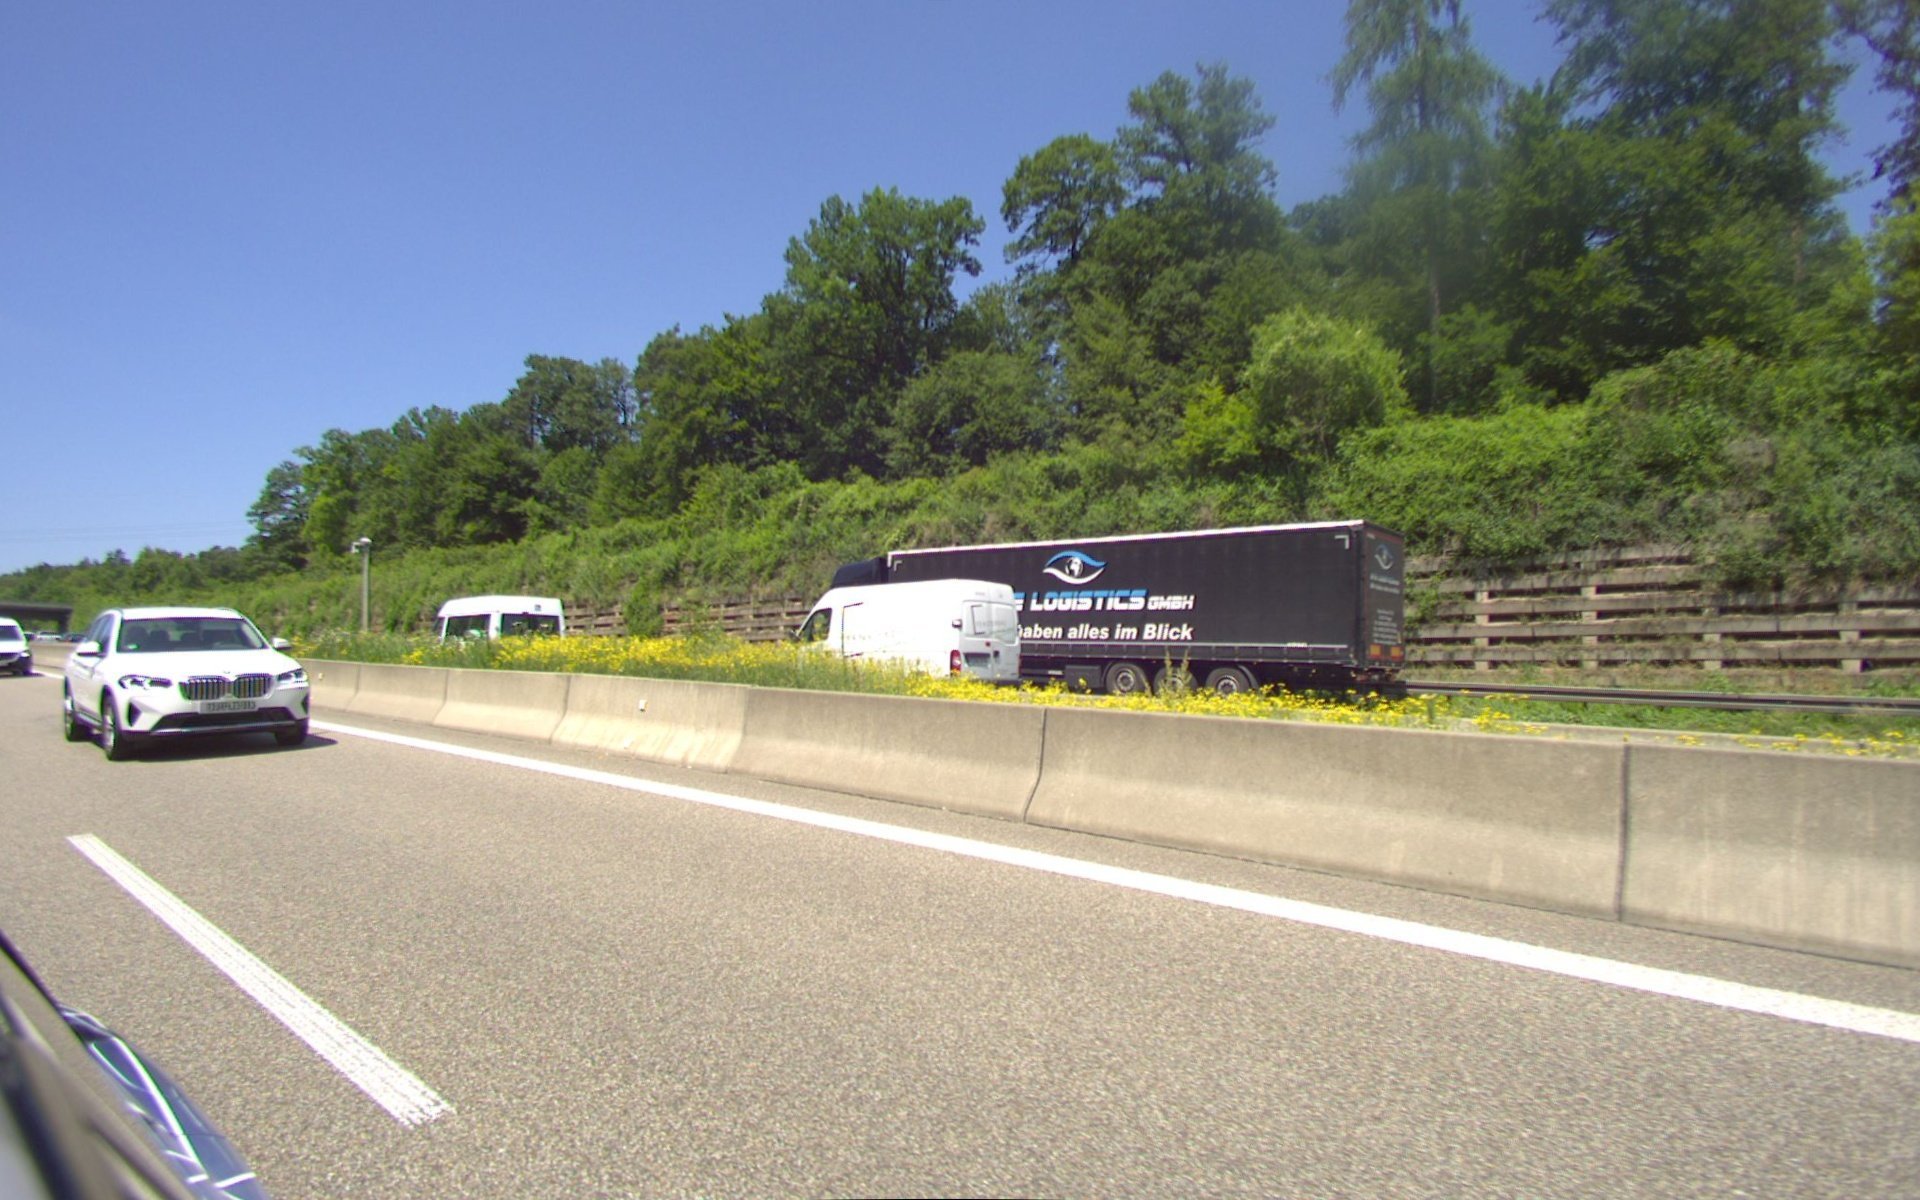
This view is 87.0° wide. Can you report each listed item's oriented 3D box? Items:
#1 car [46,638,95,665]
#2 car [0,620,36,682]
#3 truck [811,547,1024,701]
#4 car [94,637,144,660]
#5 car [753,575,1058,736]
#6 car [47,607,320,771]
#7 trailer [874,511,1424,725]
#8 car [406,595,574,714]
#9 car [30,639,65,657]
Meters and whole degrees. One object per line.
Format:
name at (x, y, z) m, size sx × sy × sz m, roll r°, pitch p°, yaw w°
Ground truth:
car at (-56.394, 3.242, 64.144) m, size 4.079 × 1.617 × 1.743 m, roll -2°, pitch -4°, yaw 41°
car at (-29.690, 1.543, 30.750) m, size 4.501 × 1.788 × 1.972 m, roll -2°, pitch 0°, yaw 43°
truck at (-1.343, 0.759, 29.894) m, size 5.865 × 4.090 × 2.903 m, roll -2°, pitch -4°, yaw 41°
car at (-59.418, 3.419, 71.479) m, size 4.654 × 1.617 × 1.919 m, roll -2°, pitch -4°, yaw 41°
car at (-1.186, 1.059, 19.835) m, size 5.680 × 2.694 × 2.725 m, roll -2°, pitch -4°, yaw 41°
car at (-9.618, 0.970, 12.402) m, size 4.366 × 1.656 × 1.826 m, roll -2°, pitch -1°, yaw 41°
trailer at (3.795, 0.571, 25.360) m, size 13.987 × 4.132 × 2.947 m, roll -2°, pitch -4°, yaw 41°
car at (-11.802, 1.328, 25.275) m, size 4.843 × 2.694 × 1.977 m, roll -2°, pitch -4°, yaw 41°
car at (-89.130, 4.687, 98.854) m, size 5.646 × 1.650 × 1.863 m, roll -2°, pitch -4°, yaw 41°
